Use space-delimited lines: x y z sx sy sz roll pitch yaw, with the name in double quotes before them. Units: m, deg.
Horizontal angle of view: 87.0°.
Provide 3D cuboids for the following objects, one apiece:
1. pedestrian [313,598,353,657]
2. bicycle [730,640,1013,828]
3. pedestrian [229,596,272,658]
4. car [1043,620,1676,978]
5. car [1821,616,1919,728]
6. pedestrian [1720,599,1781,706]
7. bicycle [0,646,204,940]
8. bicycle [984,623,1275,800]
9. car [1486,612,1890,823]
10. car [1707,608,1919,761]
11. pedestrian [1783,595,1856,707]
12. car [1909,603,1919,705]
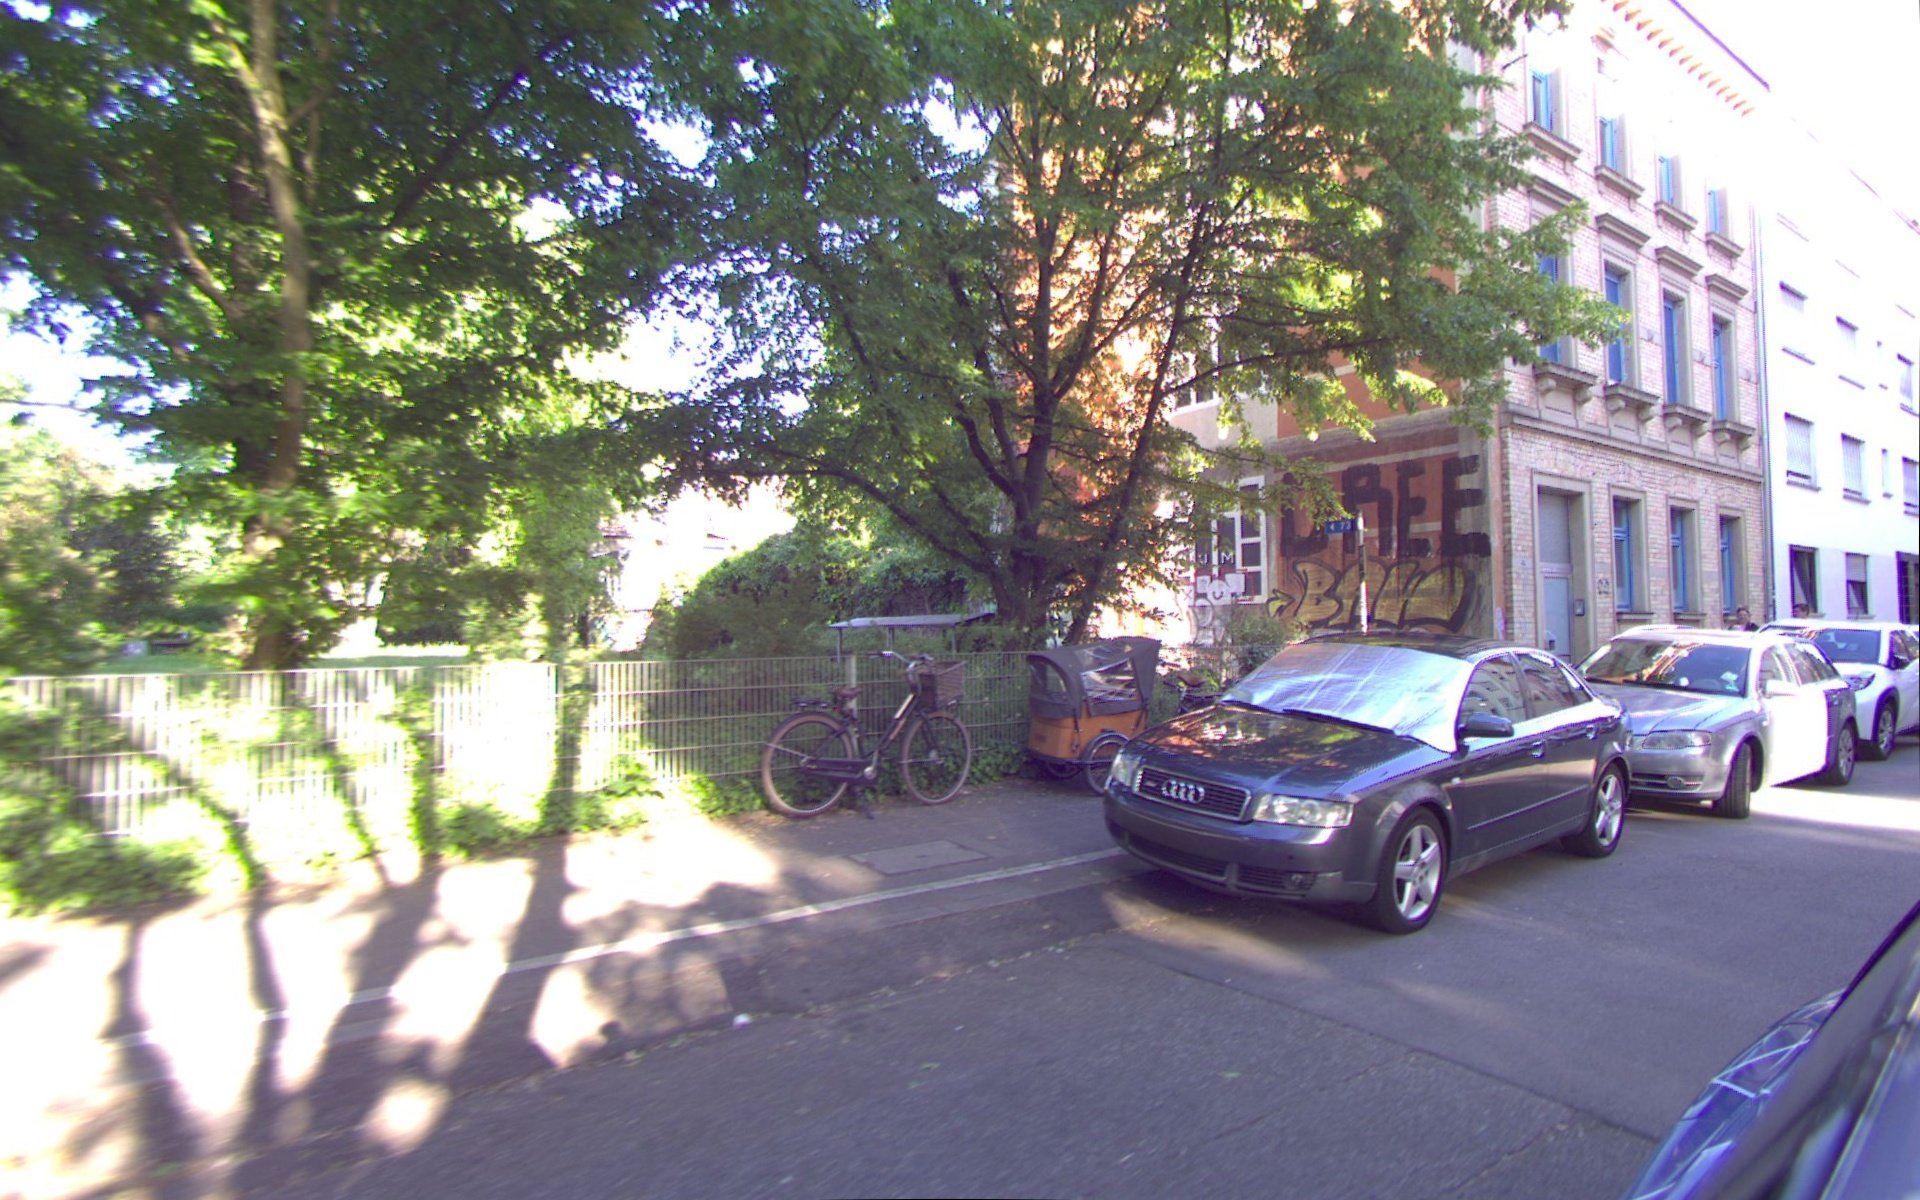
"pedestrian" -21.930 0.961 35.412 0.897 2.039 0.747 -1 -1 12
"bicycle" -0.635 0.919 7.582 1.943 1.216 0.849 1 -2 -34
"pedestrian" -23.708 0.892 33.832 0.897 2.039 0.747 -1 -1 12
"car" 2.718 0.903 6.413 4.331 1.513 1.725 0 -1 -37
"car" 14.196 0.977 14.853 3.929 1.469 1.597 0 -1 -38
"pedestrian" 13.187 0.852 16.879 0.693 1.730 0.599 1 1 -36
"bicycle" -5.063 0.869 4.507 2.640 1.284 0.849 1 -2 -34
"bicycle" 1.525 0.891 9.018 2.281 1.318 1.295 1 0 -33
"car" 6.742 0.881 9.230 4.270 1.513 1.664 0 -2 -35
"car" 10.777 0.908 12.372 3.692 1.605 1.598 1 -1 -36
"pedestrian" 13.789 0.790 16.242 0.738 1.730 0.712 1 1 -36
"car" 18.175 0.913 17.450 4.245 1.688 1.771 1 -1 -35
